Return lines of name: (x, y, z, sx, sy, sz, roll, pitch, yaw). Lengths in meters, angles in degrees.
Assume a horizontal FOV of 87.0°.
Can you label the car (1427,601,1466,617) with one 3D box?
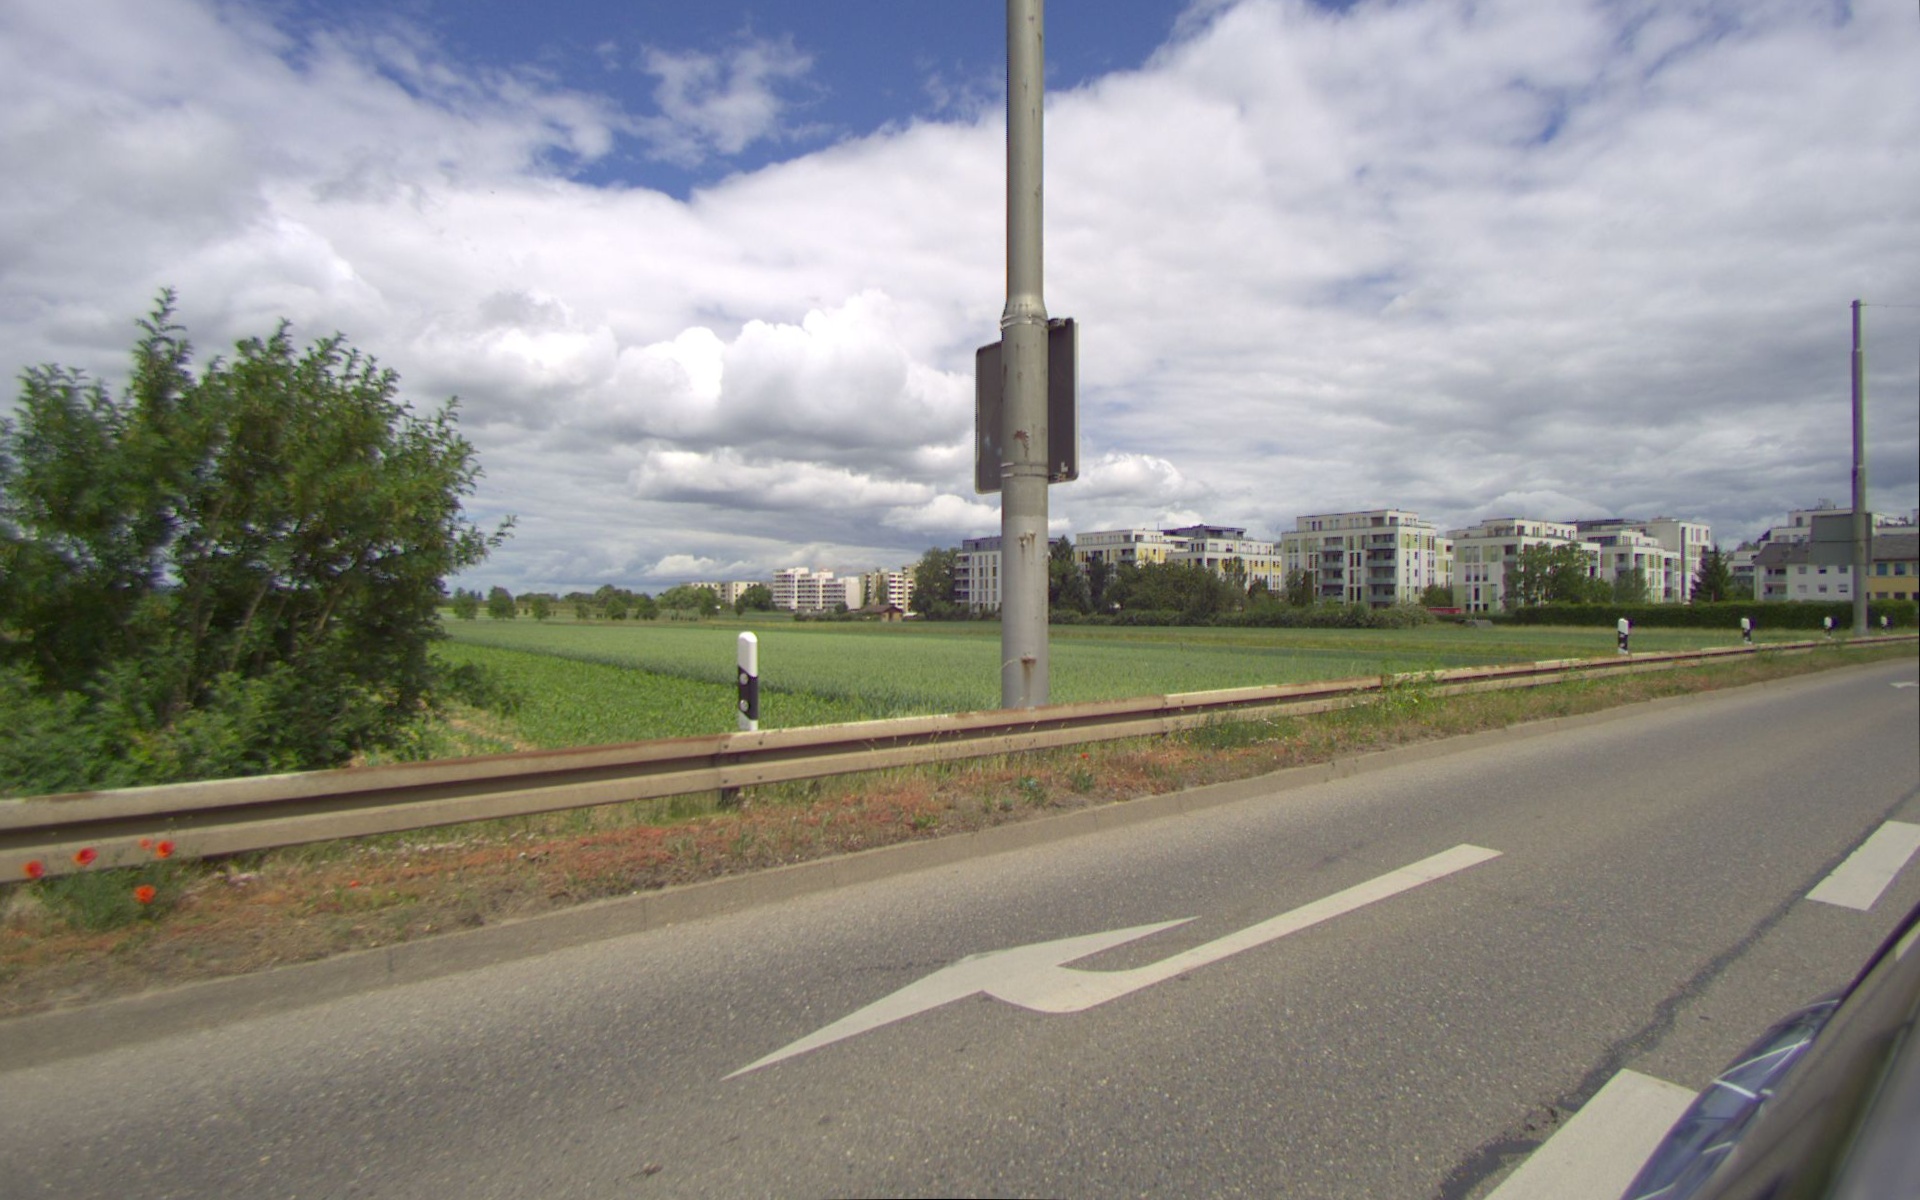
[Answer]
car: (67.110, 1.244, 139.636, 1.964, 2.039, 4.435, 0, 1, -39)
